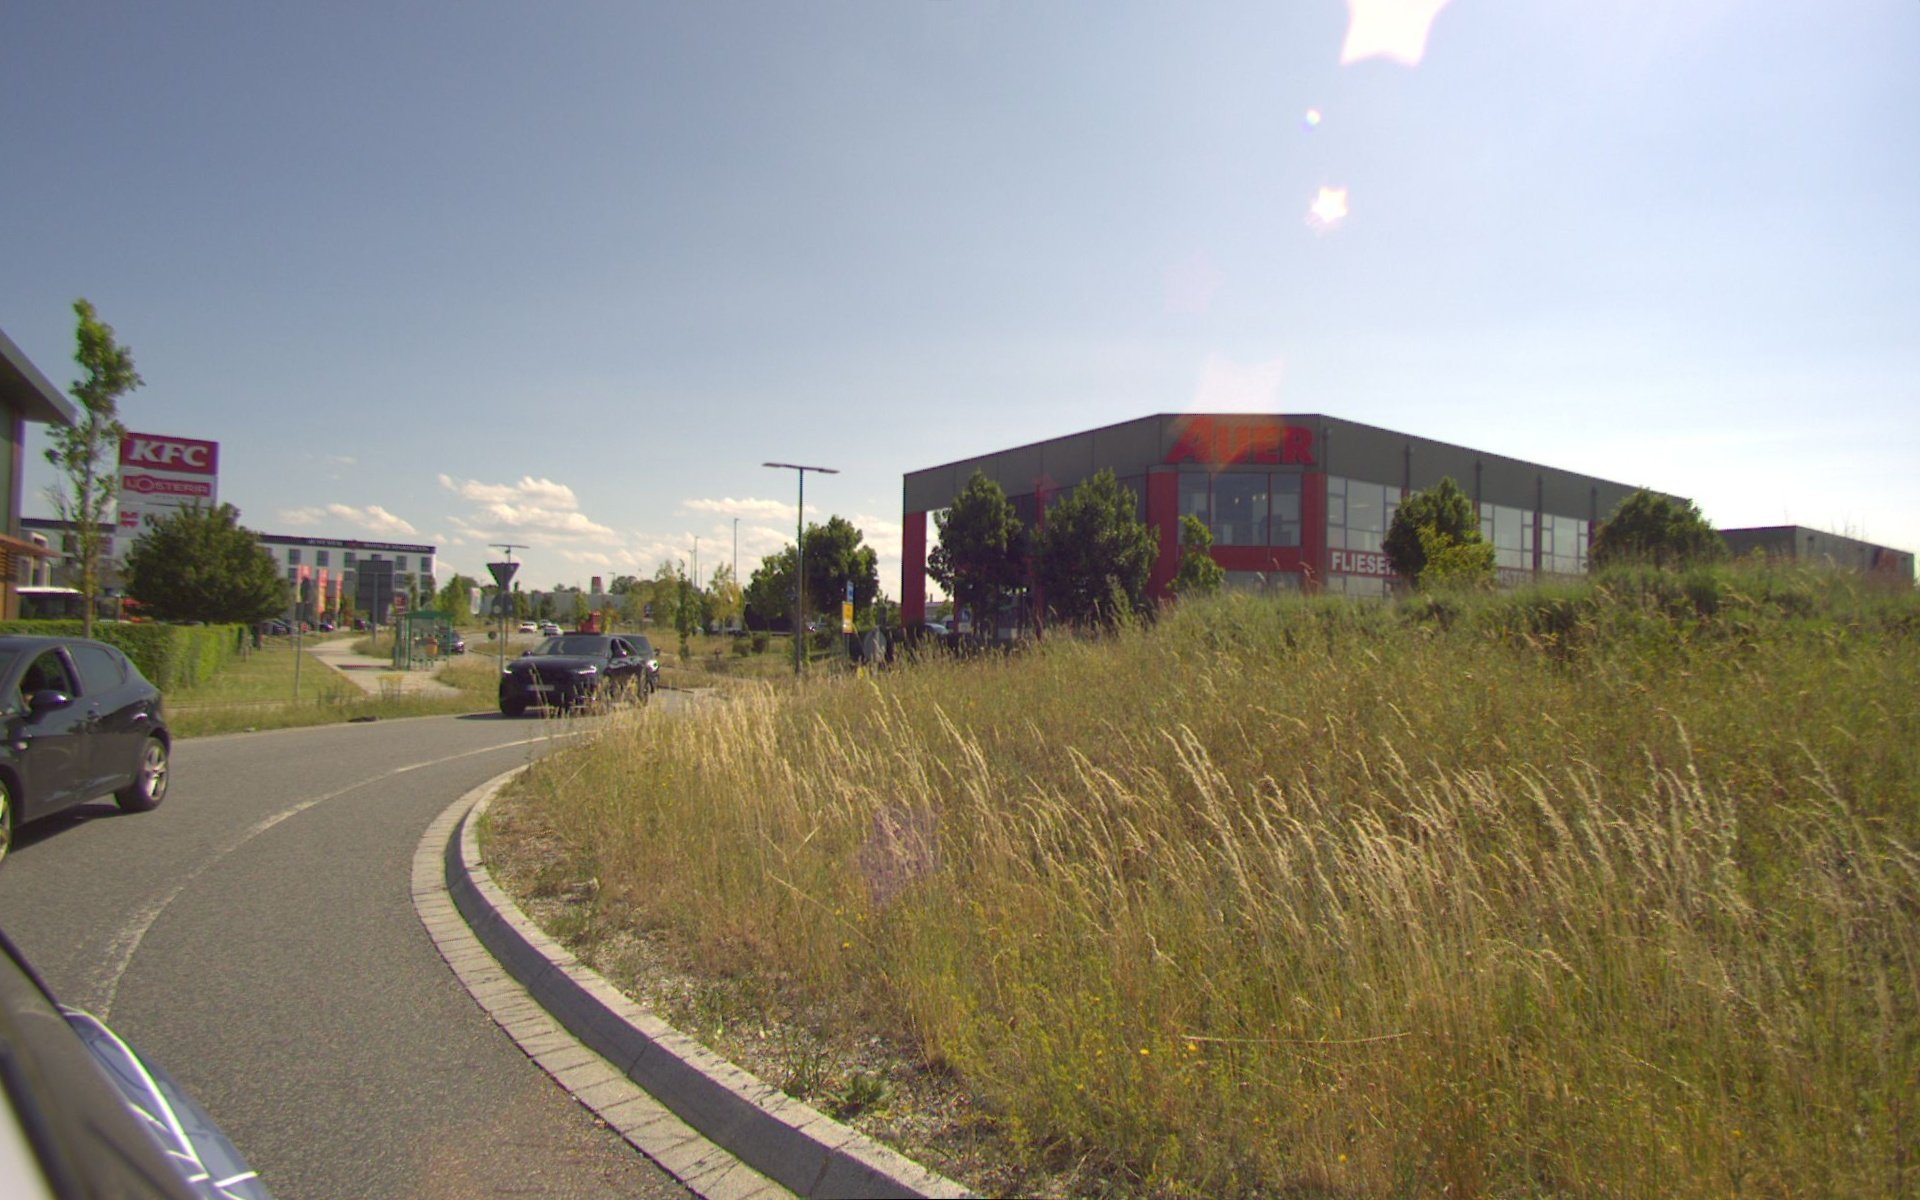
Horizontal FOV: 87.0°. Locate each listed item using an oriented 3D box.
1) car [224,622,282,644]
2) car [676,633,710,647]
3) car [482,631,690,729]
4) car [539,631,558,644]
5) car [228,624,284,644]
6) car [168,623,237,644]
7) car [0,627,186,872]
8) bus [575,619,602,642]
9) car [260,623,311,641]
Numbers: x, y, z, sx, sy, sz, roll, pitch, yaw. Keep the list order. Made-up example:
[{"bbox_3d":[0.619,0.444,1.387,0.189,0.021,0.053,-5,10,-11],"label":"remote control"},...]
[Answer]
[{"bbox_3d":[-67.746,3.184,96.991,4.114,2.029,1.939,2,-2,-20],"label":"car"},{"bbox_3d":[-33.709,5.083,127.652,3.888,1.689,1.620,1,-3,-3],"label":"car"},{"bbox_3d":[-7.541,1.544,20.815,1.850,1.701,3.971,-1,-1,22],"label":"car"},{"bbox_3d":[-49.269,4.482,121.227,1.766,1.427,4.395,2,-2,-17],"label":"car"},{"bbox_3d":[-68.928,3.339,99.107,4.115,1.871,1.808,2,-2,-17],"label":"car"},{"bbox_3d":[-64.145,2.860,85.761,4.366,1.665,1.939,2,-2,-28],"label":"car"},{"bbox_3d":[-7.039,0.923,6.763,1.831,1.479,4.013,2,-2,-20],"label":"car"},{"bbox_3d":[-54.042,4.459,147.523,2.573,3.266,11.913,1,-2,-15],"label":"bus"},{"bbox_3d":[-71.366,3.425,107.094,4.115,1.775,1.829,2,-2,-17],"label":"car"}]
